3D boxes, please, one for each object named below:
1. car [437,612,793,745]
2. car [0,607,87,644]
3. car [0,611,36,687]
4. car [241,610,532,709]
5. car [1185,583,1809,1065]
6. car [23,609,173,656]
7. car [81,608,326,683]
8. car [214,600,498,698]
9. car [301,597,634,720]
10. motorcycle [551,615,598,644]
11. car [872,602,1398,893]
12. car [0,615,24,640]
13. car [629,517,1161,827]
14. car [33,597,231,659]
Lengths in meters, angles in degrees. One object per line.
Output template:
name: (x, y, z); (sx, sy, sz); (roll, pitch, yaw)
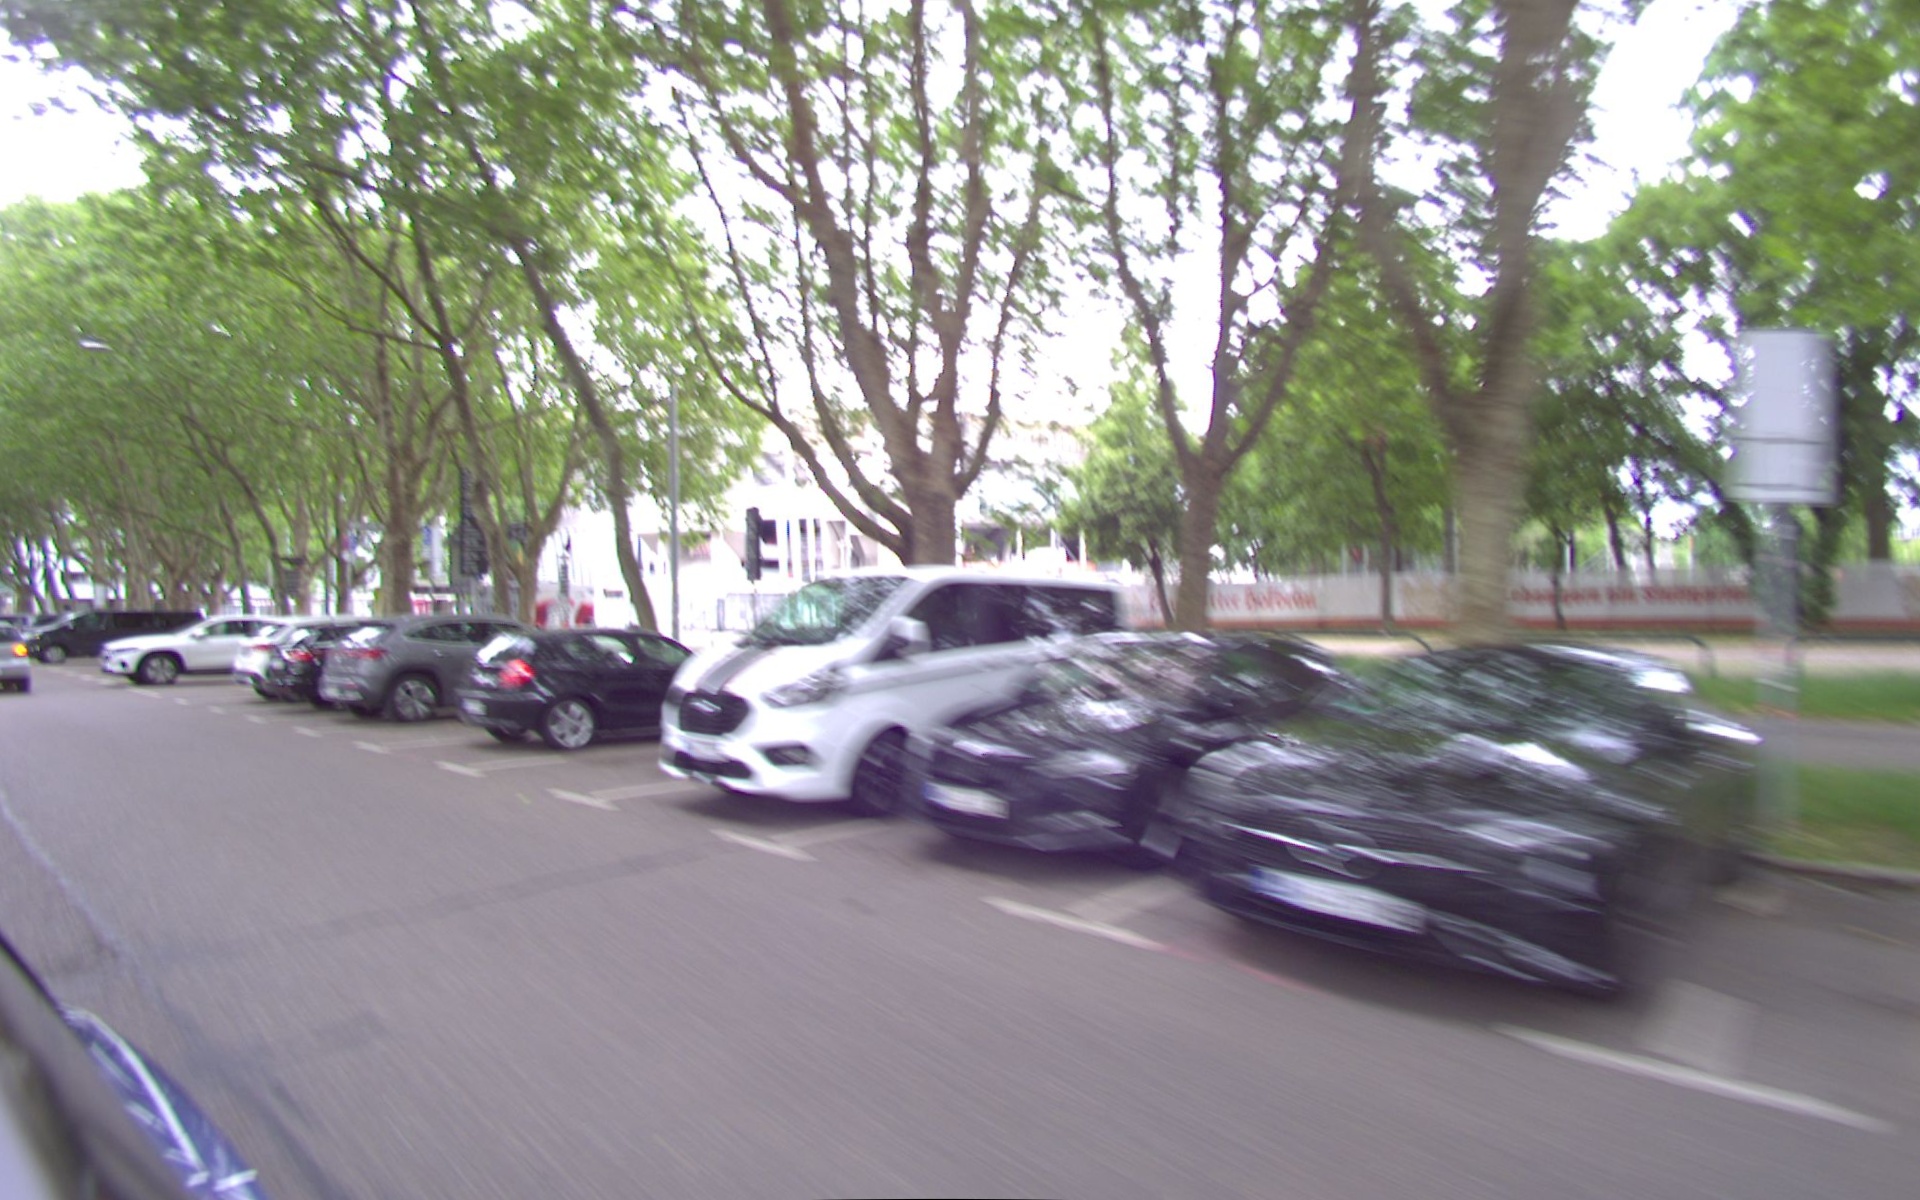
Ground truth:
car: (-4.211, 0.930, 12.829); (1.683, 1.424, 3.944); (-1, -3, 42)
car: (-49.789, 1.360, 53.832); (2.208, 1.939, 4.852); (-1, -2, 42)
car: (-20.523, 0.987, 20.883); (3.837, 1.482, 1.671); (-1, -2, 41)
car: (-9.730, 0.990, 17.412); (1.841, 1.487, 3.946); (-1, -3, 40)
car: (3.112, 0.750, 5.306); (1.775, 1.463, 4.399); (-1, -2, 44)
car: (-36.065, 1.419, 42.443); (1.807, 1.834, 4.600); (-3, -5, 44)
car: (-17.928, 1.053, 24.156); (1.998, 1.609, 4.335); (-1, -2, 40)
car: (-11.587, 0.938, 19.659); (1.998, 1.680, 4.296); (-1, -3, 40)
car: (-7.649, 0.897, 16.062); (1.998, 1.680, 4.296); (-1, -3, 40)
motorcycle: (-15.902, 1.209, 41.741); (0.740, 1.151, 1.636); (-1, -2, 45)
car: (1.557, 0.815, 7.375); (1.773, 1.463, 4.402); (-1, -2, 41)
car: (-64.660, 1.808, 66.565); (1.758, 1.630, 4.465); (-1, -1, 44)
car: (-0.266, 0.549, 9.110); (1.919, 2.034, 4.842); (-1, -2, 41)
car: (-30.535, 1.070, 37.484); (1.939, 2.144, 5.380); (-2, -3, 40)
